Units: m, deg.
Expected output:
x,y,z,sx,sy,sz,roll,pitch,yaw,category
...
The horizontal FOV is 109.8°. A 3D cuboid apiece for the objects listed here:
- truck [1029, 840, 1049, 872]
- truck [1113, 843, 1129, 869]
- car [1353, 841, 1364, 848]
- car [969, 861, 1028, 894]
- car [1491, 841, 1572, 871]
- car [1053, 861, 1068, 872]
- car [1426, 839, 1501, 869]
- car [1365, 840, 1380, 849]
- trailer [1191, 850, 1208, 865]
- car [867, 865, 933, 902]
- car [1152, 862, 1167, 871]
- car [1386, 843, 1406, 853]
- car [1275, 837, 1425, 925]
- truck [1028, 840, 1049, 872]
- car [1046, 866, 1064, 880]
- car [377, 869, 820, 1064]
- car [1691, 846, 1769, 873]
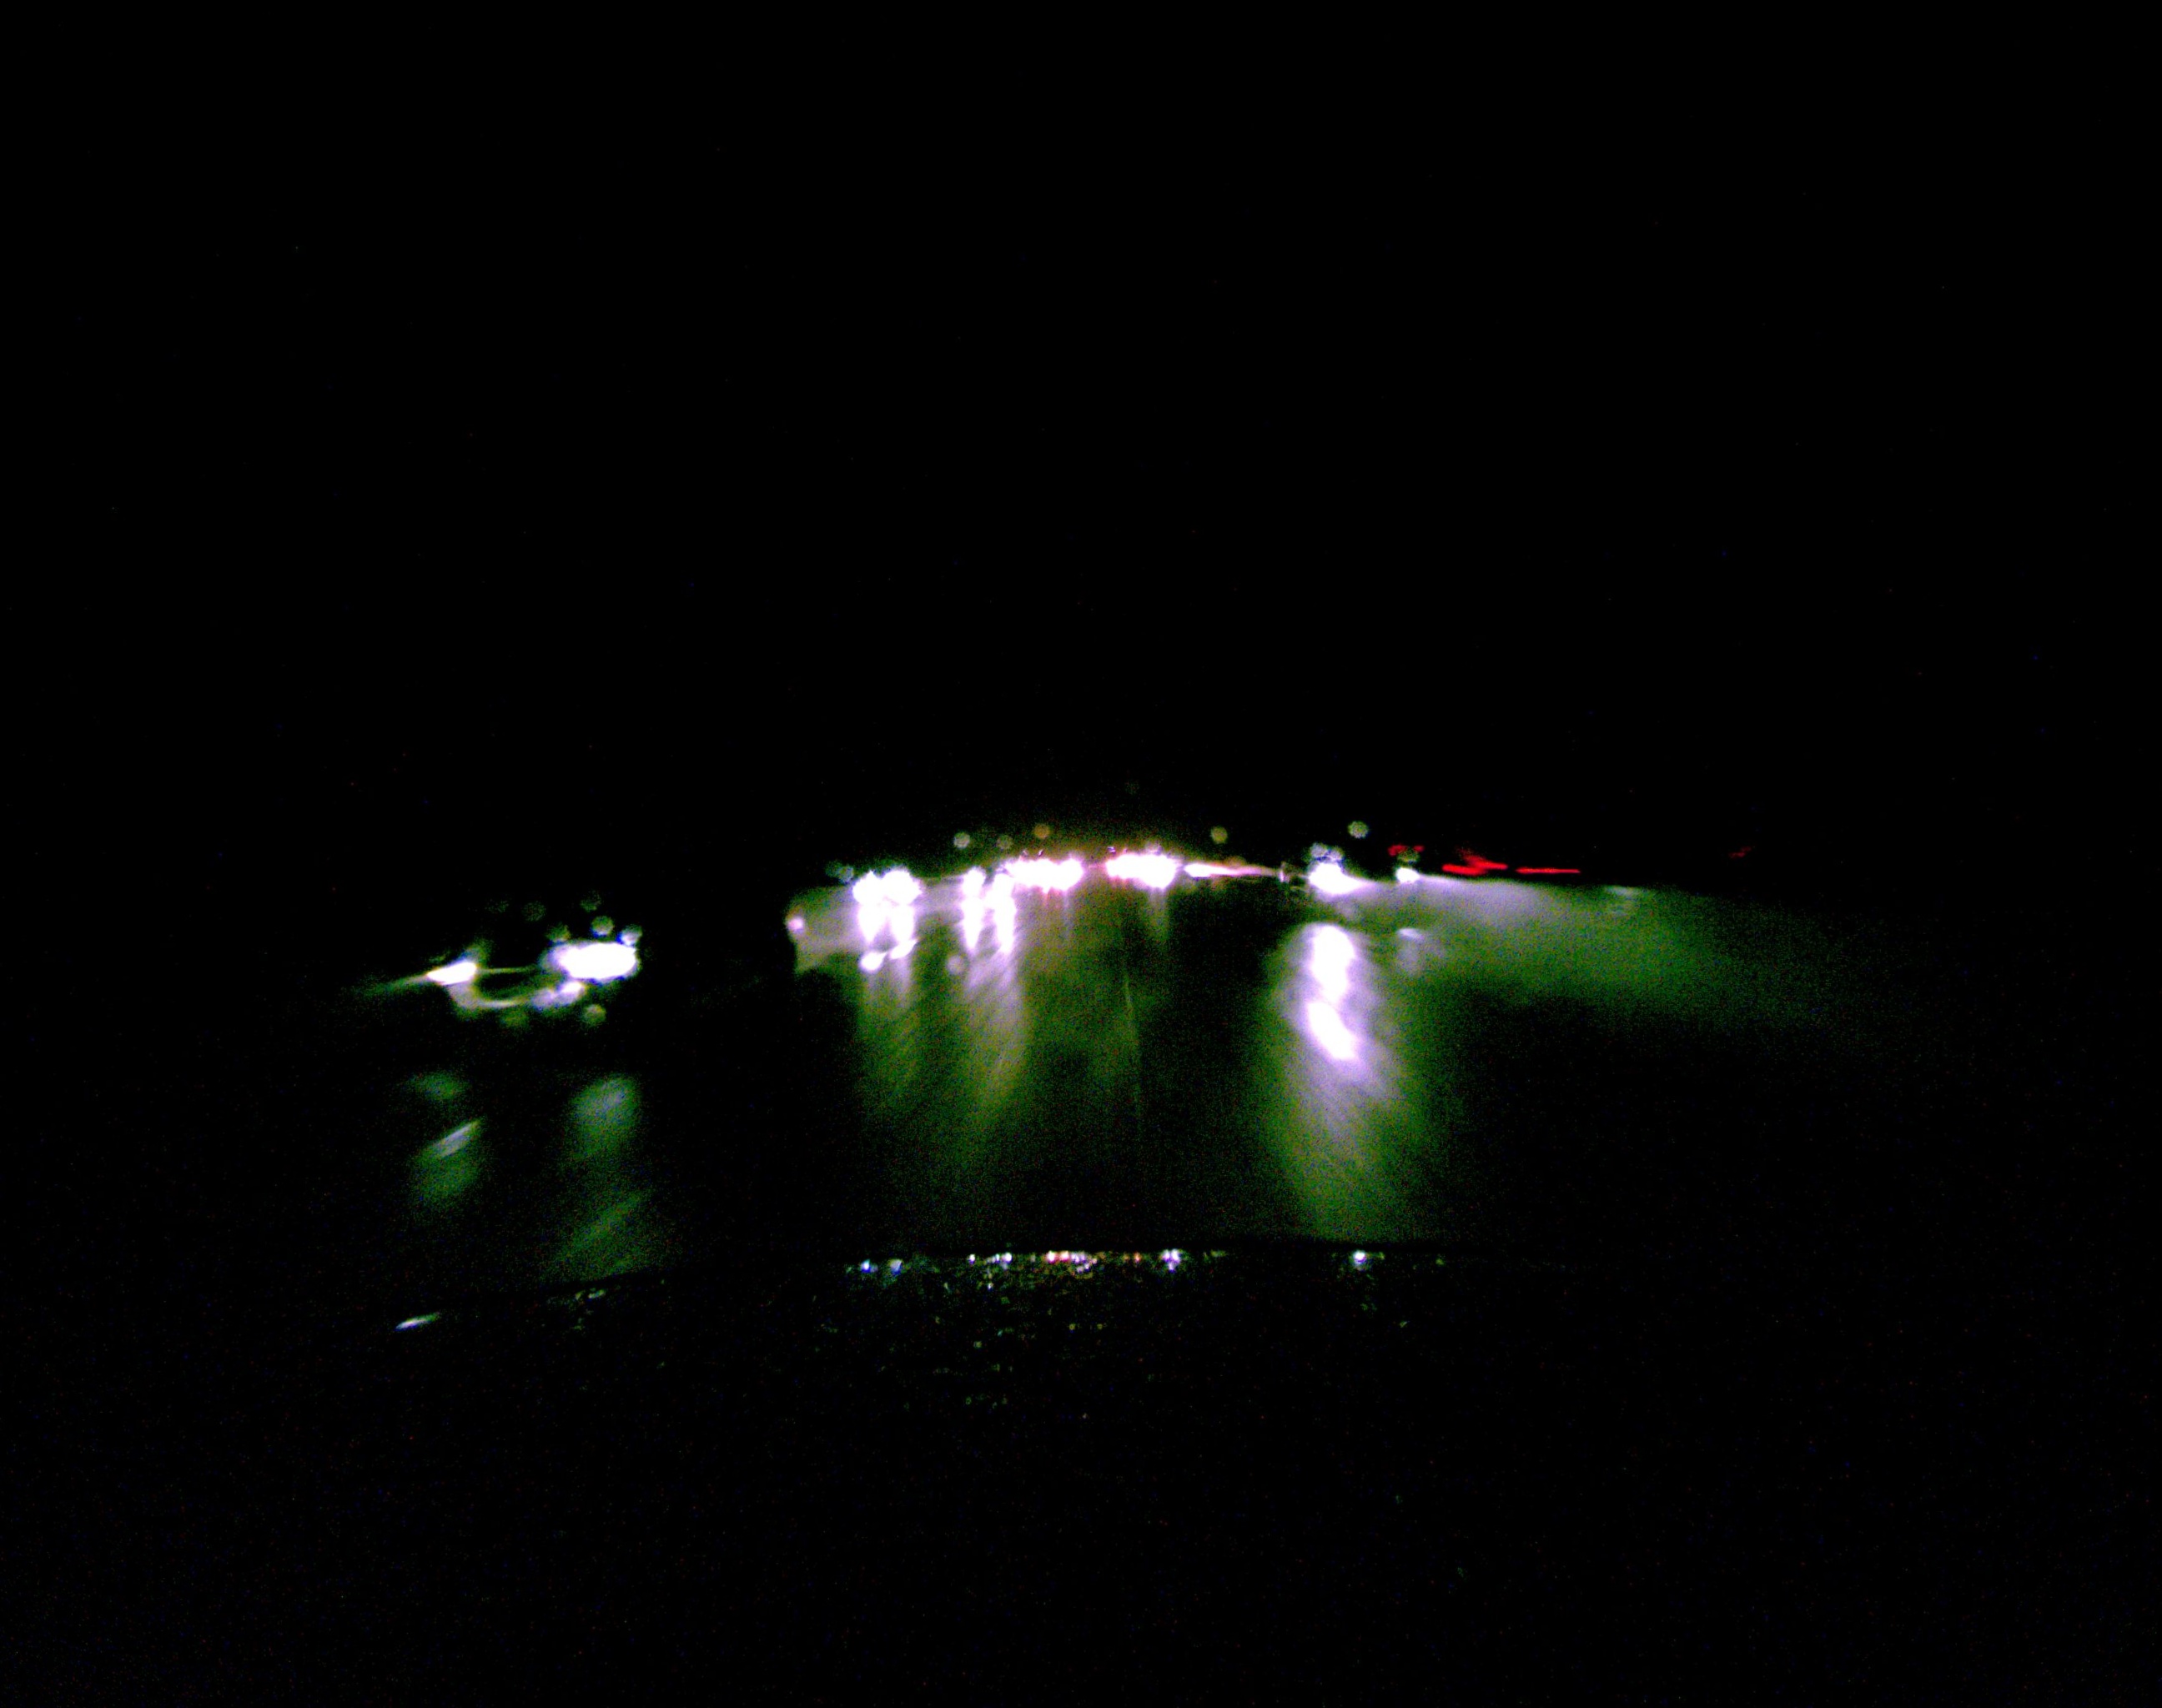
x,y,z,sx,sy,sz,roll,pitch,yaw,category
-6.072,0.145,110.707,2.766,4.198,13.820,1,1,-3,truck
6.587,0.320,127.019,2.503,4.224,5.981,1,1,2,truck
59.612,-1.952,163.107,1.772,1.397,3.244,-2,0,11,car
-4.007,1.108,37.495,1.998,1.440,4.337,-3,0,5,car
23.856,0.070,40.406,1.844,1.451,4.292,1,1,3,car
-2.503,1.572,93.743,1.712,1.286,3.991,1,-2,-3,car
19.668,-0.035,39.259,1.844,1.451,4.292,1,1,3,car
64.938,-2.057,169.180,1.997,1.921,4.689,-2,0,8,car
33.001,0.855,212.028,2.819,3.976,13.930,1,1,2,trailer
-8.253,1.317,34.956,1.723,1.488,4.045,-3,0,4,car
10.805,1.747,104.757,1.711,1.286,3.992,0,-2,1,car
55.957,-1.077,134.894,1.998,1.761,4.572,-2,0,6,car
6.543,0.535,19.287,2.141,1.874,5.555,-1,1,4,car
-5.771,0.278,104.210,2.766,4.198,6.191,1,1,-3,truck
-2.631,1.877,75.637,1.712,1.286,3.991,1,-2,-3,car
-5.029,1.026,9.072,2.063,1.510,5.015,-2,0,0,car
45.895,0.384,53.848,1.997,1.761,4.572,-2,0,7,car
